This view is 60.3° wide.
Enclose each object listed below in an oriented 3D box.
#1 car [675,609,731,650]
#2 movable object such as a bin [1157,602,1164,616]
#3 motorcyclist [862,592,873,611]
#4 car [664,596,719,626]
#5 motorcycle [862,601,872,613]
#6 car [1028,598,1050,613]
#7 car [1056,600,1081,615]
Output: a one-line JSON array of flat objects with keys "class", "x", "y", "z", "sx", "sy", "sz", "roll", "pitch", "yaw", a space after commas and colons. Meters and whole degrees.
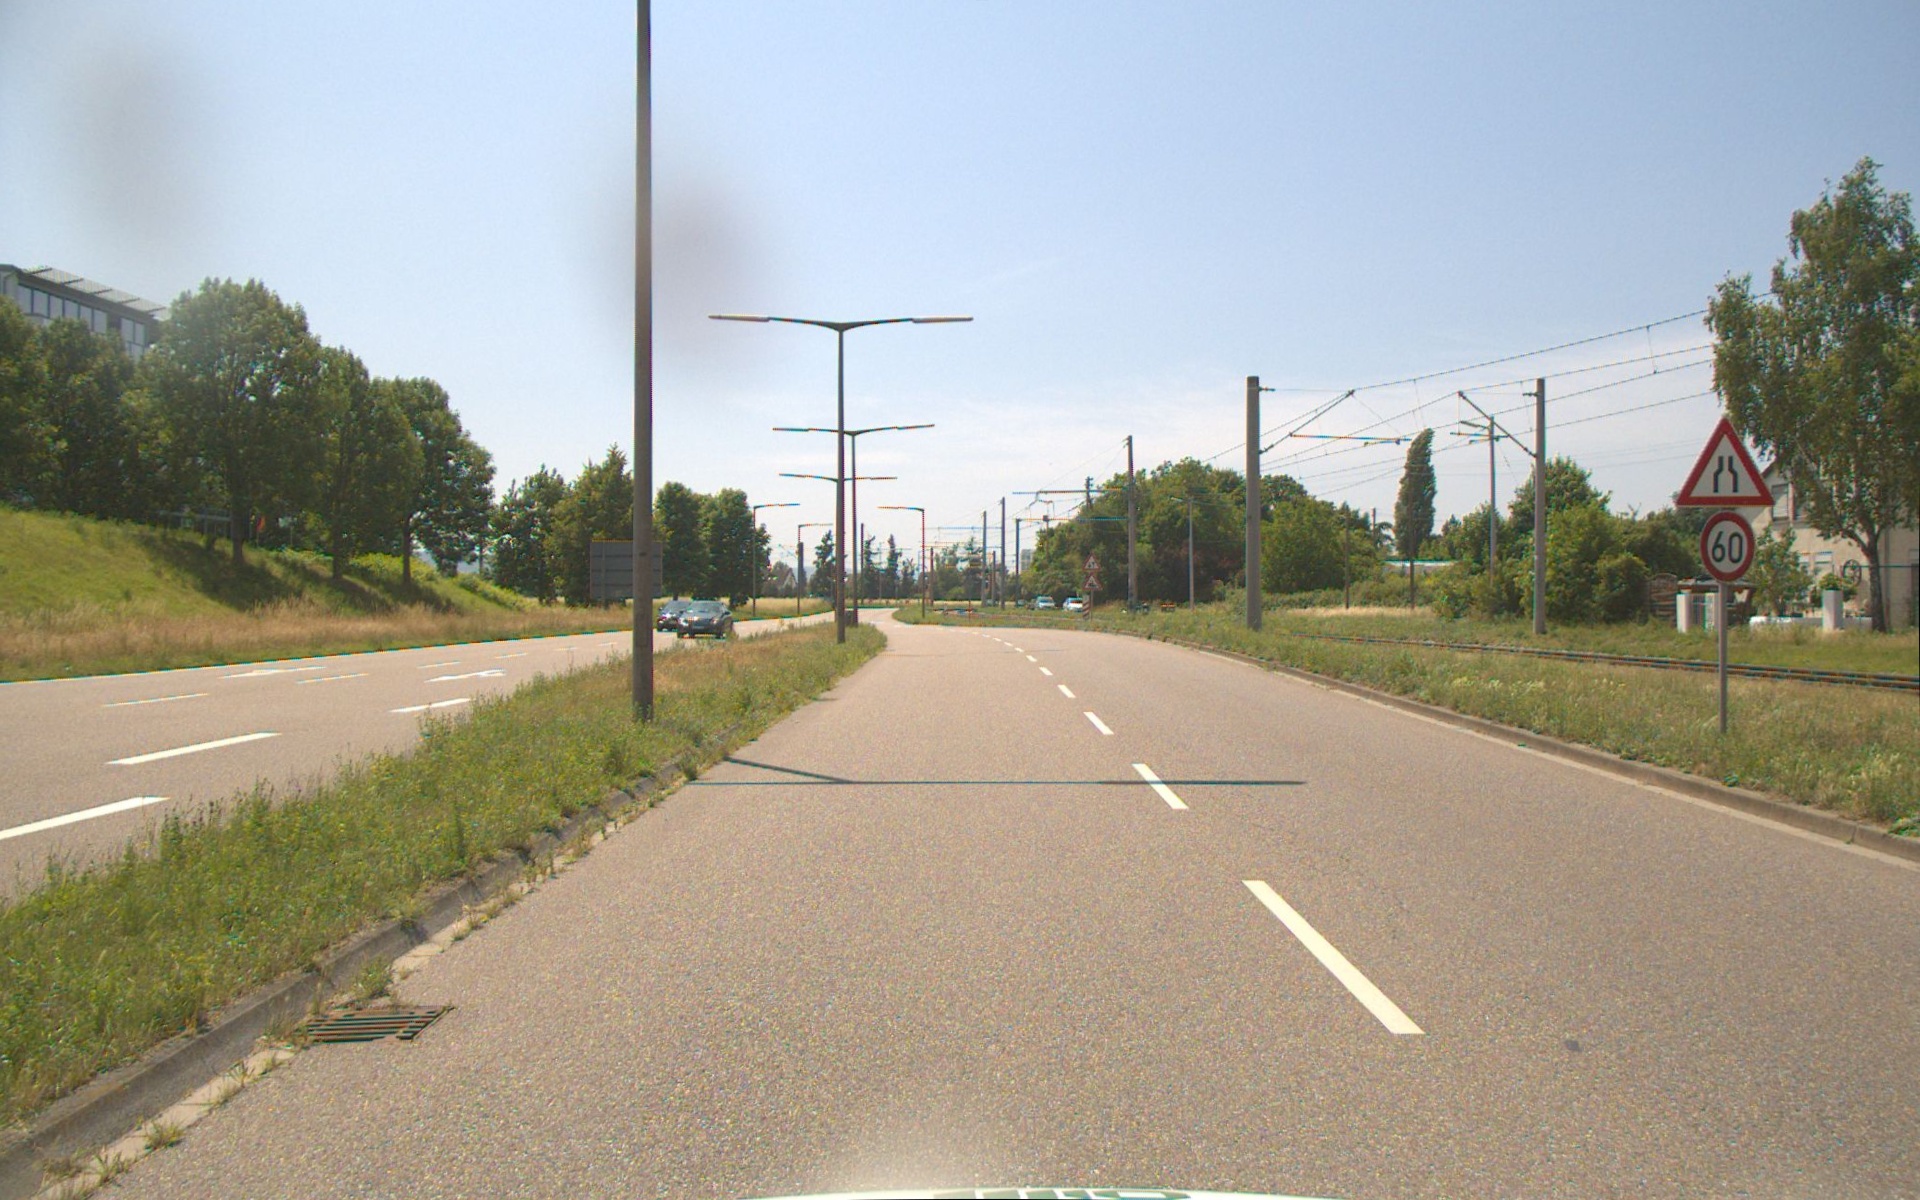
[{"class": "car", "x": -10.004, "y": 1.124, "z": 64.542, "sx": 1.658, "sy": 1.518, "sz": 3.998, "roll": 0, "pitch": 0, "yaw": -2}, {"class": "movable object such as a bin", "x": 16.273, "y": 0.720, "z": 134.152, "sx": 0.513, "sy": 1.068, "sz": 0.500, "roll": -1, "pitch": 0, "yaw": 6}, {"class": "motorcyclist", "x": -12.203, "y": 0.200, "z": 218.148, "sx": 1.205, "sy": 2.392, "sz": 1.107, "roll": 1, "pitch": -1, "yaw": 1}, {"class": "car", "x": -12.584, "y": 0.501, "z": 77.890, "sx": 1.953, "sy": 1.383, "sz": 4.664, "roll": 0, "pitch": 0, "yaw": -2}, {"class": "motorcycle", "x": -12.218, "y": 0.918, "z": 218.106, "sx": 0.969, "sy": 1.608, "sz": 3.401, "roll": 1, "pitch": -1, "yaw": 2}, {"class": "car", "x": 7.808, "y": 0.572, "z": 164.371, "sx": 1.639, "sy": 1.422, "sz": 3.646, "roll": 1, "pitch": -1, "yaw": -5}, {"class": "car", "x": 9.237, "y": 0.621, "z": 141.194, "sx": 1.533, "sy": 1.200, "sz": 3.074, "roll": -1, "pitch": 0, "yaw": -8}]
